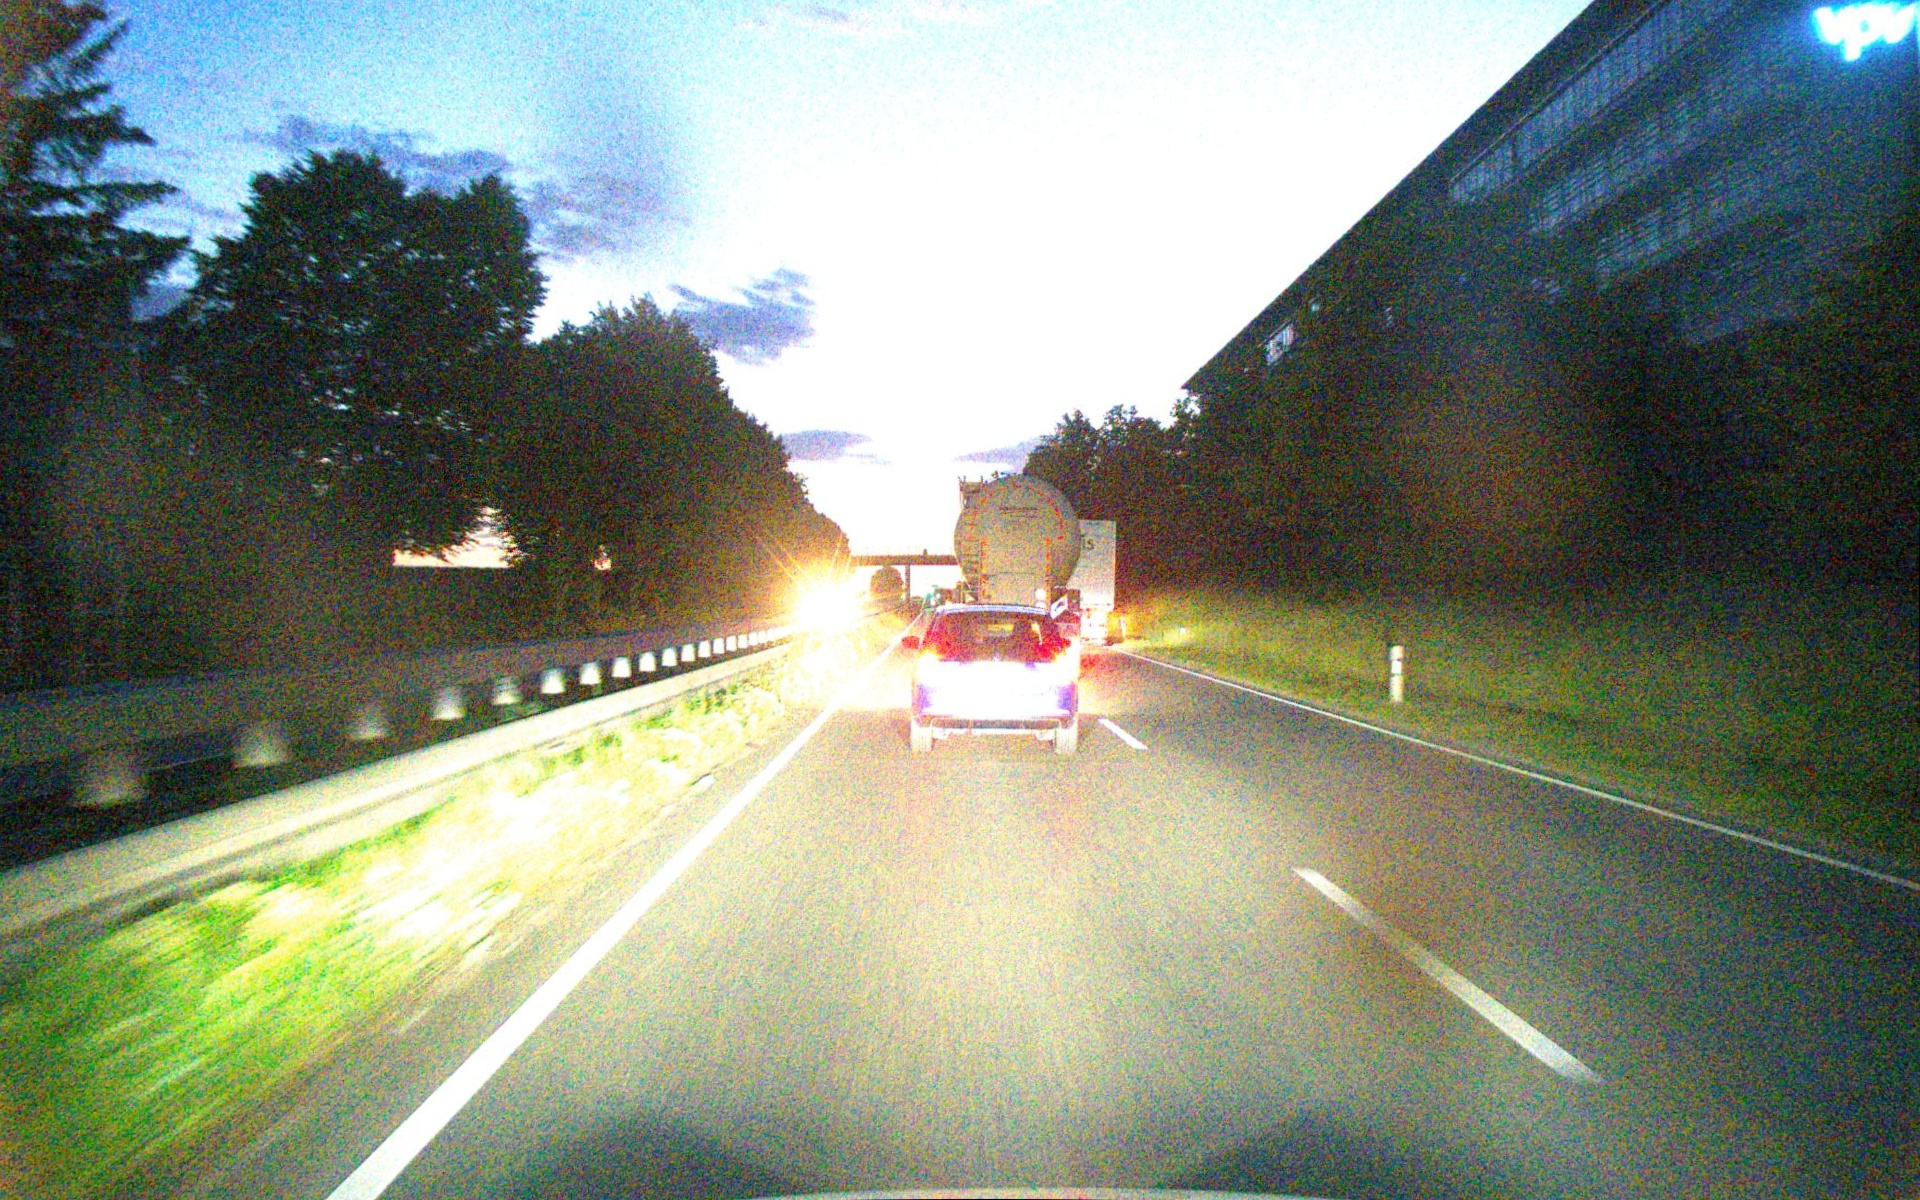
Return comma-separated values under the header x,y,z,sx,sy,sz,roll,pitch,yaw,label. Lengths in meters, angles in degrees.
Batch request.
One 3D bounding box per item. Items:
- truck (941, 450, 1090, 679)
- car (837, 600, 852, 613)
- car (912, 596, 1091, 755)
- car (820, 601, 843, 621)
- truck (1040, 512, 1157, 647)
x,y,z,sx,sy,sz,roll,pitch,yaw,label
0.956,-0.624,36.952,2.633,4.178,13.138,1,0,-1,truck
-13.759,0.734,197.845,1.584,1.533,3.868,1,0,-1,car
0.361,0.718,17.455,1.661,1.478,3.913,1,0,-1,car
-10.600,0.886,136.637,1.648,1.615,4.166,1,0,-1,car
4.635,-0.621,57.968,2.824,4.178,12.680,1,0,-1,truck
